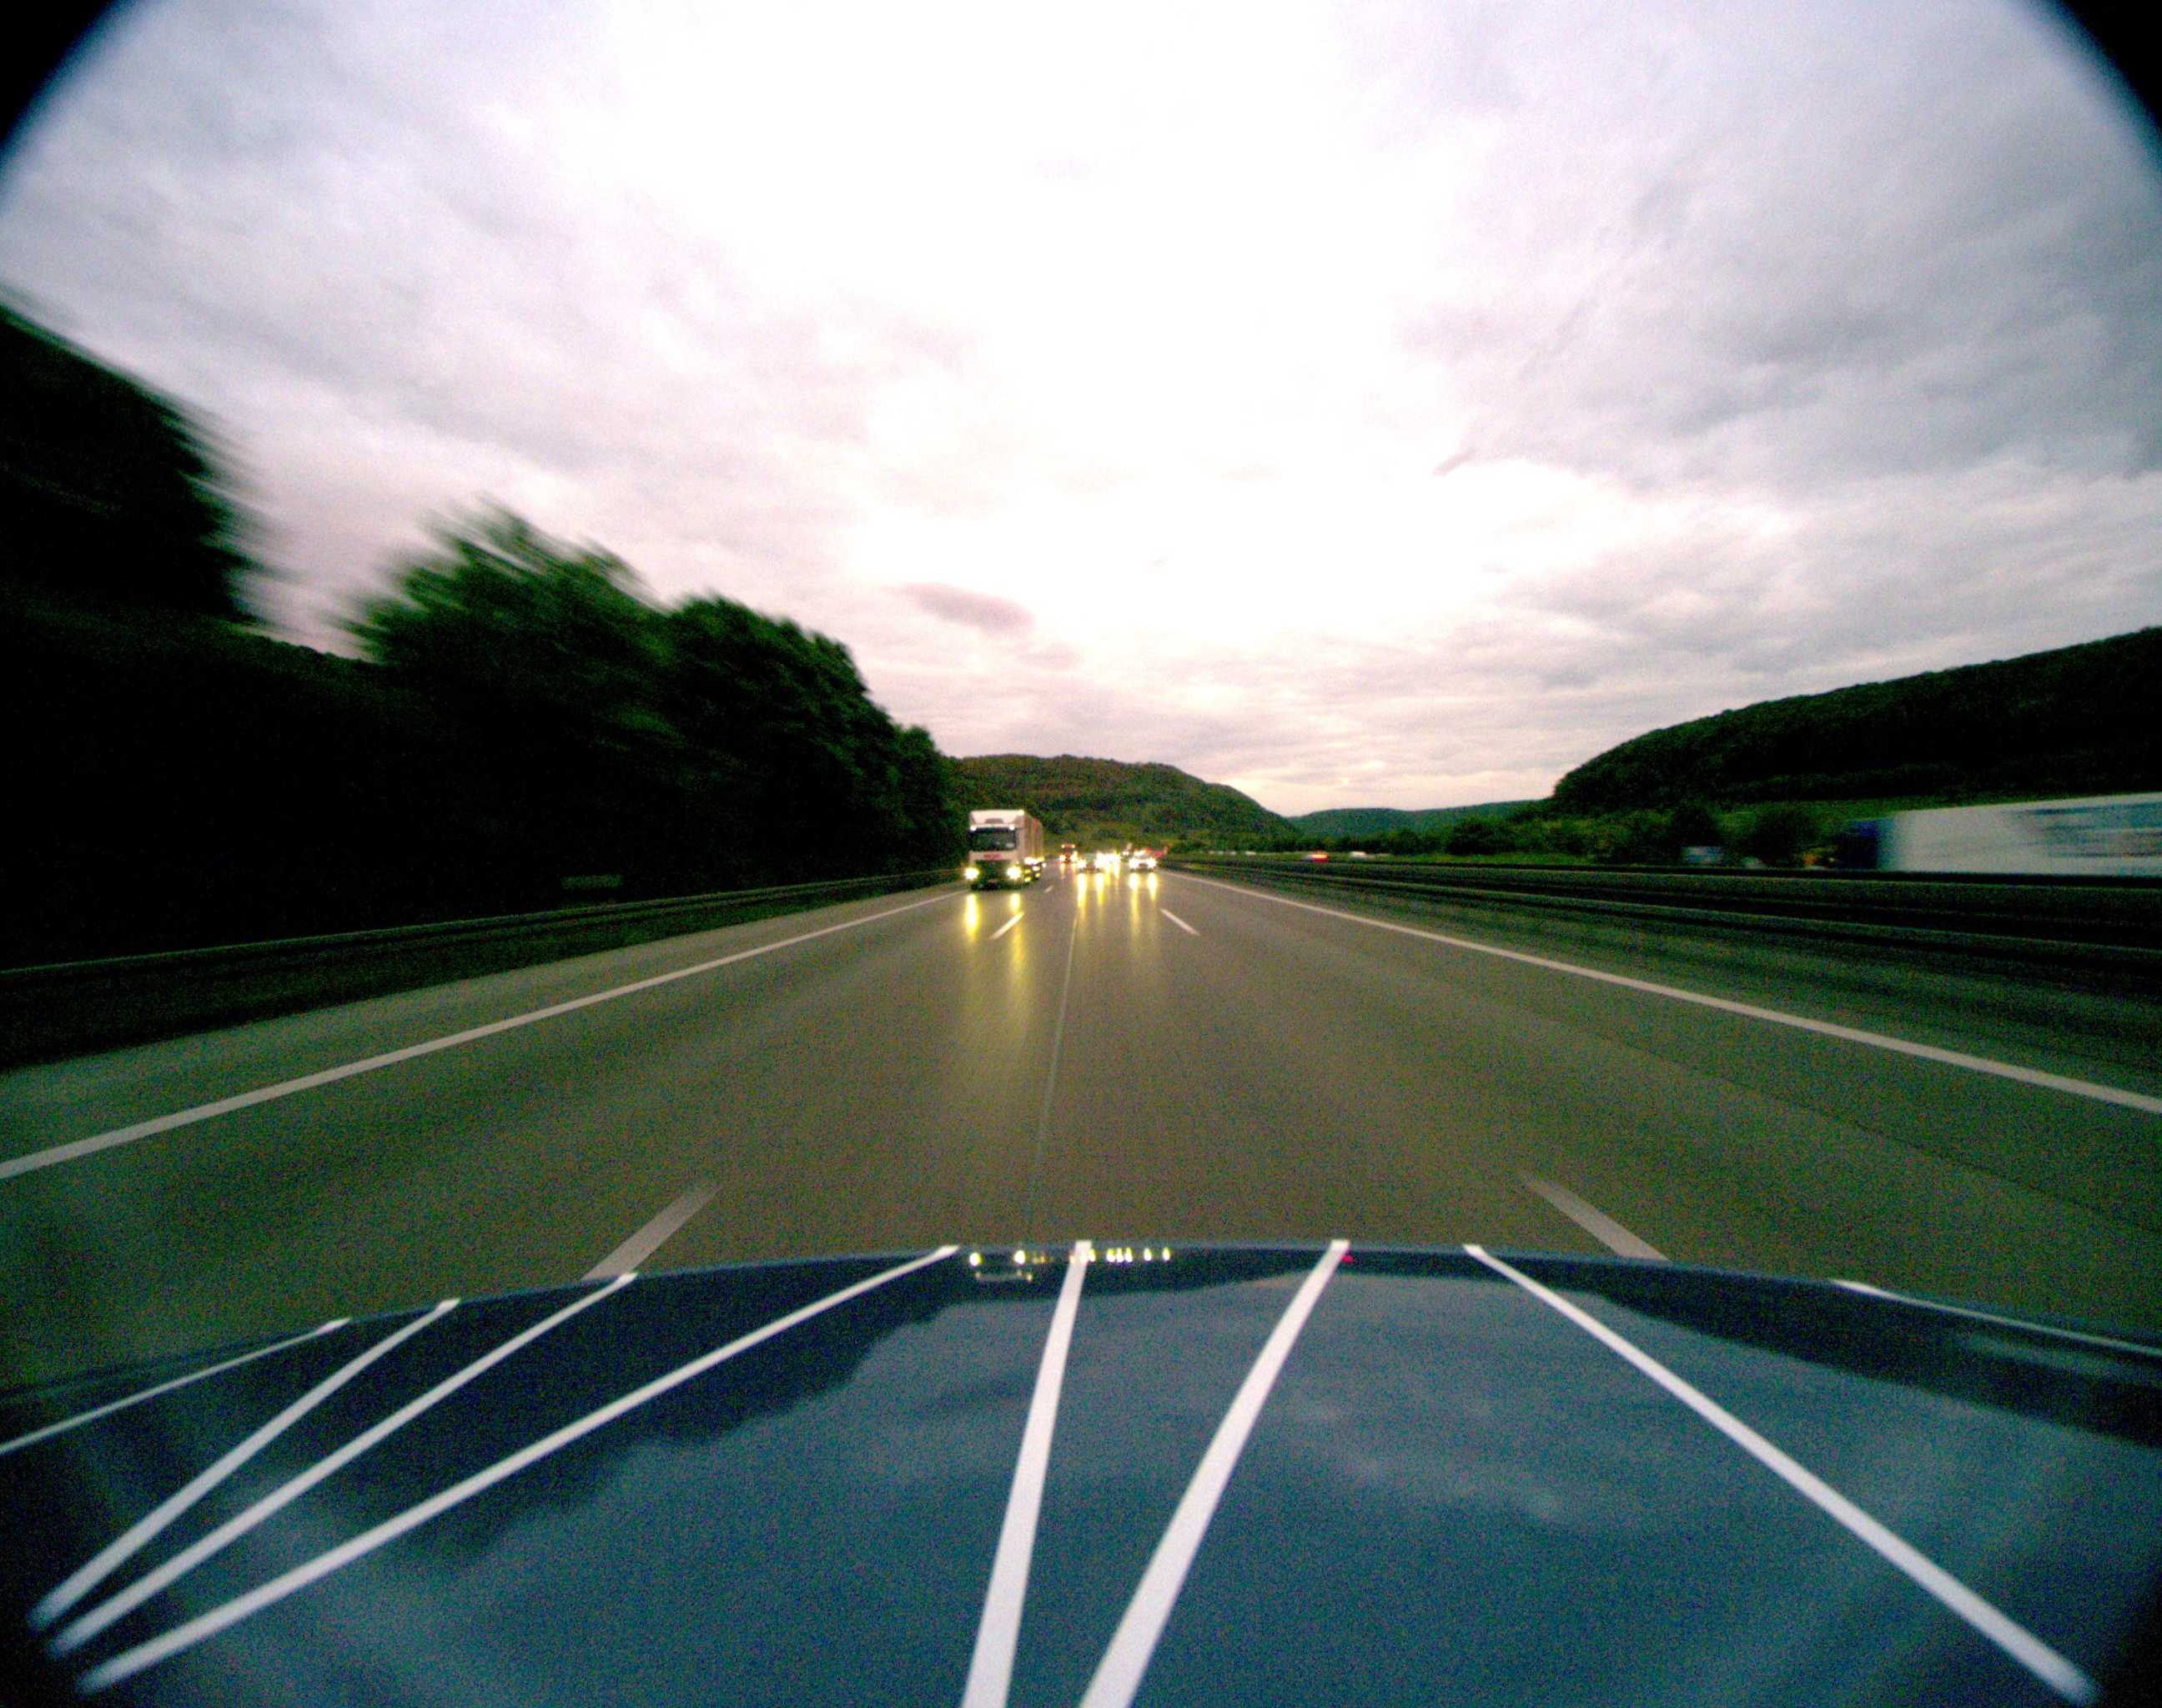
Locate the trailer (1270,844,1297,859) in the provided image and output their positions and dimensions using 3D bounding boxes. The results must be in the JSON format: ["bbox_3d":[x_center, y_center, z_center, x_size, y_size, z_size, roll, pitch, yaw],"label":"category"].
[{"bbox_3d":[43.423,-0.484,163.523,2.880,3.035,11.726,0,0,1],"label":"trailer"}]

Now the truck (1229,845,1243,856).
[{"bbox_3d":[44.925,-1.042,220.514,2.874,3.070,5.892,0,1,1],"label":"truck"}]

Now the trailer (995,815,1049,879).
[{"bbox_3d":[-3.660,-0.462,49.270,2.623,3.805,8.877,0,1,1],"label":"trailer"}]

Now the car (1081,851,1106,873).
[{"bbox_3d":[1.045,0.628,62.180,1.927,1.674,4.806,0,1,2],"label":"car"}]

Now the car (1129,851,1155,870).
[{"bbox_3d":[5.160,0.522,64.424,1.794,1.492,5.037,-2,0,0],"label":"car"}]

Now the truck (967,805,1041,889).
[{"bbox_3d":[-3.768,-0.373,39.604,2.623,3.805,10.385,0,1,1],"label":"truck"}]

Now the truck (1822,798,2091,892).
[{"bbox_3d":[35.142,-0.328,31.046,2.880,3.356,7.175,-1,0,2],"label":"truck"}]

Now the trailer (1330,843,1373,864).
[{"bbox_3d":[43.113,-0.125,121.524,2.874,3.070,11.157,0,1,-1],"label":"trailer"}]

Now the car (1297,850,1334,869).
[{"bbox_3d":[21.090,0.464,68.457,1.998,1.584,4.741,-1,0,2],"label":"car"}]

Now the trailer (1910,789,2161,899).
[{"bbox_3d":[34.886,-0.330,24.209,2.880,3.405,13.225,-1,0,2],"label":"trailer"}]

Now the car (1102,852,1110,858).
[{"bbox_3d":[6.367,0.307,193.676,1.898,1.503,4.000,-1,1,1],"label":"car"}]

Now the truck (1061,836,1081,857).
[{"bbox_3d":[-1.853,-1.446,146.843,3.119,3.850,14.162,2,1,1],"label":"truck"}]

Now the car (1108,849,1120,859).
[{"bbox_3d":[5.883,-0.034,134.515,1.894,1.650,5.639,-1,1,1],"label":"car"}]

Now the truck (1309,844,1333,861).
[{"bbox_3d":[43.122,-0.265,136.694,2.874,3.070,5.304,0,1,1],"label":"truck"}]
